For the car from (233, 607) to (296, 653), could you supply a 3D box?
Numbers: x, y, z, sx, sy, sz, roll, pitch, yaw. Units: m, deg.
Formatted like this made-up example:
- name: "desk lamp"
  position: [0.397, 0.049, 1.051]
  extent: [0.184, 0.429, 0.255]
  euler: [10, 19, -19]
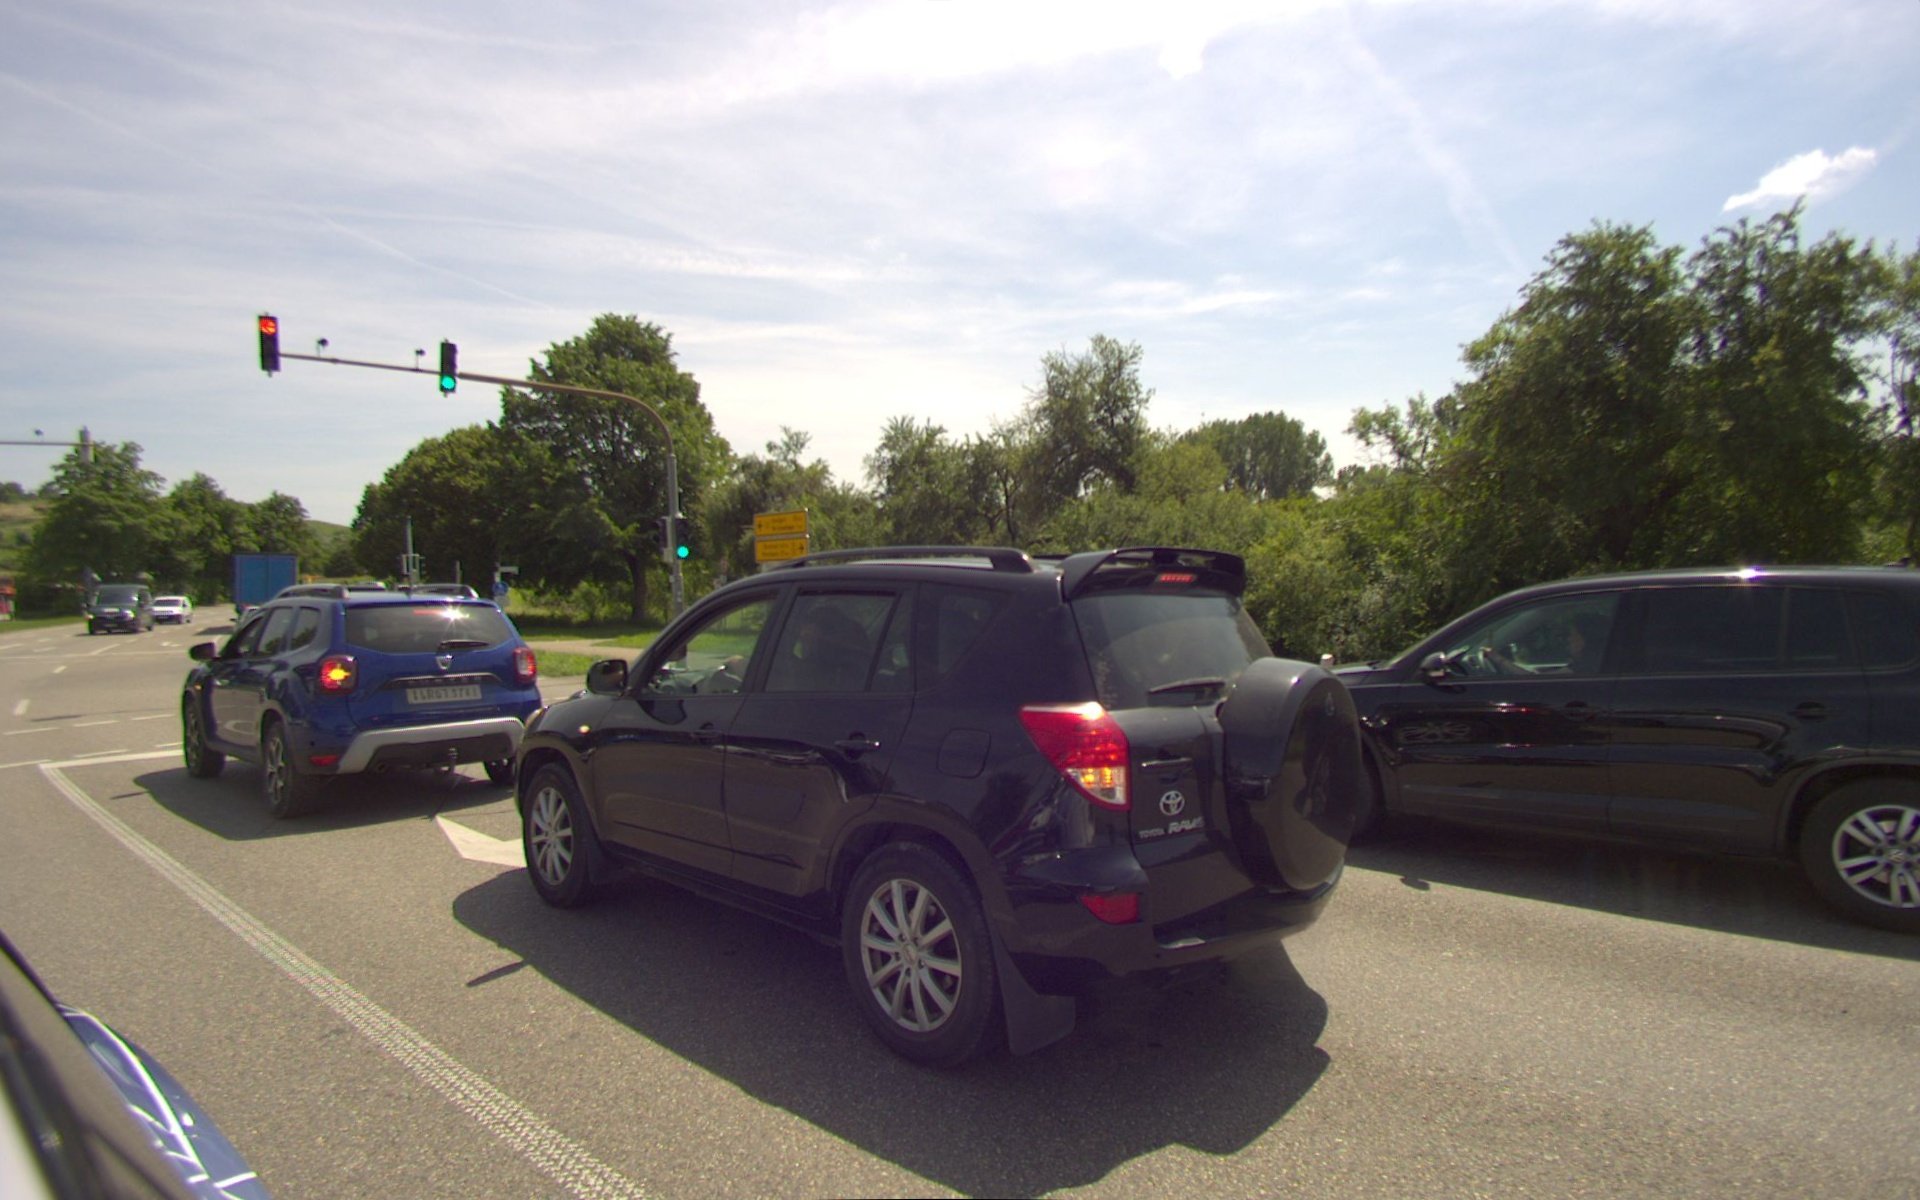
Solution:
- name: "car"
  position: [-24.957, 1.030, 36.250]
  extent: [1.748, 1.507, 4.009]
  euler: [0, 0, -36]

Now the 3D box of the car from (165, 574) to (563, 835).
- name: "car"
  position: [-5.127, 0.666, 8.482]
  extent: [3.999, 1.671, 1.752]
  euler: [0, 0, 42]

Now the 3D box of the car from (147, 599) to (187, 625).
- name: "car"
  position: [-52.363, 0.762, 66.875]
  extent: [1.755, 1.504, 4.169]
  euler: [-1, 2, -34]

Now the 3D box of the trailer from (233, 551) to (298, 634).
- name: "trailer"
  position: [-37.982, -0.301, 55.639]
  extent: [2.531, 4.060, 13.632]
  euler: [-1, 0, -33]

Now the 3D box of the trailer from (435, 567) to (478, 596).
- name: "trailer"
  position: [-76.519, -2.736, 154.009]
  extent: [2.741, 4.133, 11.688]
  euler: [1, 0, -11]

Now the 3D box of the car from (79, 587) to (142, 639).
- name: "car"
  position: [-44.005, 0.627, 52.521]
  extent: [1.949, 2.537, 4.169]
  euler: [-1, 2, -33]

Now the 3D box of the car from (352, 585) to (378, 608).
- name: "car"
  position: [-65.543, -0.388, 111.546]
  extent: [2.022, 2.470, 5.286]
  euler: [0, 0, -25]

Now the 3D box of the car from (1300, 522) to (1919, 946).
- name: "car"
  position: [4.109, 0.538, 5.261]
  extent: [1.970, 1.708, 4.004]
  euler: [0, 0, -44]

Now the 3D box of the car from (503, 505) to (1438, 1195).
- name: "car"
  position: [-0.285, 0.603, 4.464]
  extent: [4.000, 1.671, 1.752]
  euler: [0, 0, 43]

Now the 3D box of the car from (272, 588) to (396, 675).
- name: "car"
  position: [-16.258, 0.727, 26.157]
  extent: [1.969, 2.021, 5.173]
  euler: [-1, 1, -40]
